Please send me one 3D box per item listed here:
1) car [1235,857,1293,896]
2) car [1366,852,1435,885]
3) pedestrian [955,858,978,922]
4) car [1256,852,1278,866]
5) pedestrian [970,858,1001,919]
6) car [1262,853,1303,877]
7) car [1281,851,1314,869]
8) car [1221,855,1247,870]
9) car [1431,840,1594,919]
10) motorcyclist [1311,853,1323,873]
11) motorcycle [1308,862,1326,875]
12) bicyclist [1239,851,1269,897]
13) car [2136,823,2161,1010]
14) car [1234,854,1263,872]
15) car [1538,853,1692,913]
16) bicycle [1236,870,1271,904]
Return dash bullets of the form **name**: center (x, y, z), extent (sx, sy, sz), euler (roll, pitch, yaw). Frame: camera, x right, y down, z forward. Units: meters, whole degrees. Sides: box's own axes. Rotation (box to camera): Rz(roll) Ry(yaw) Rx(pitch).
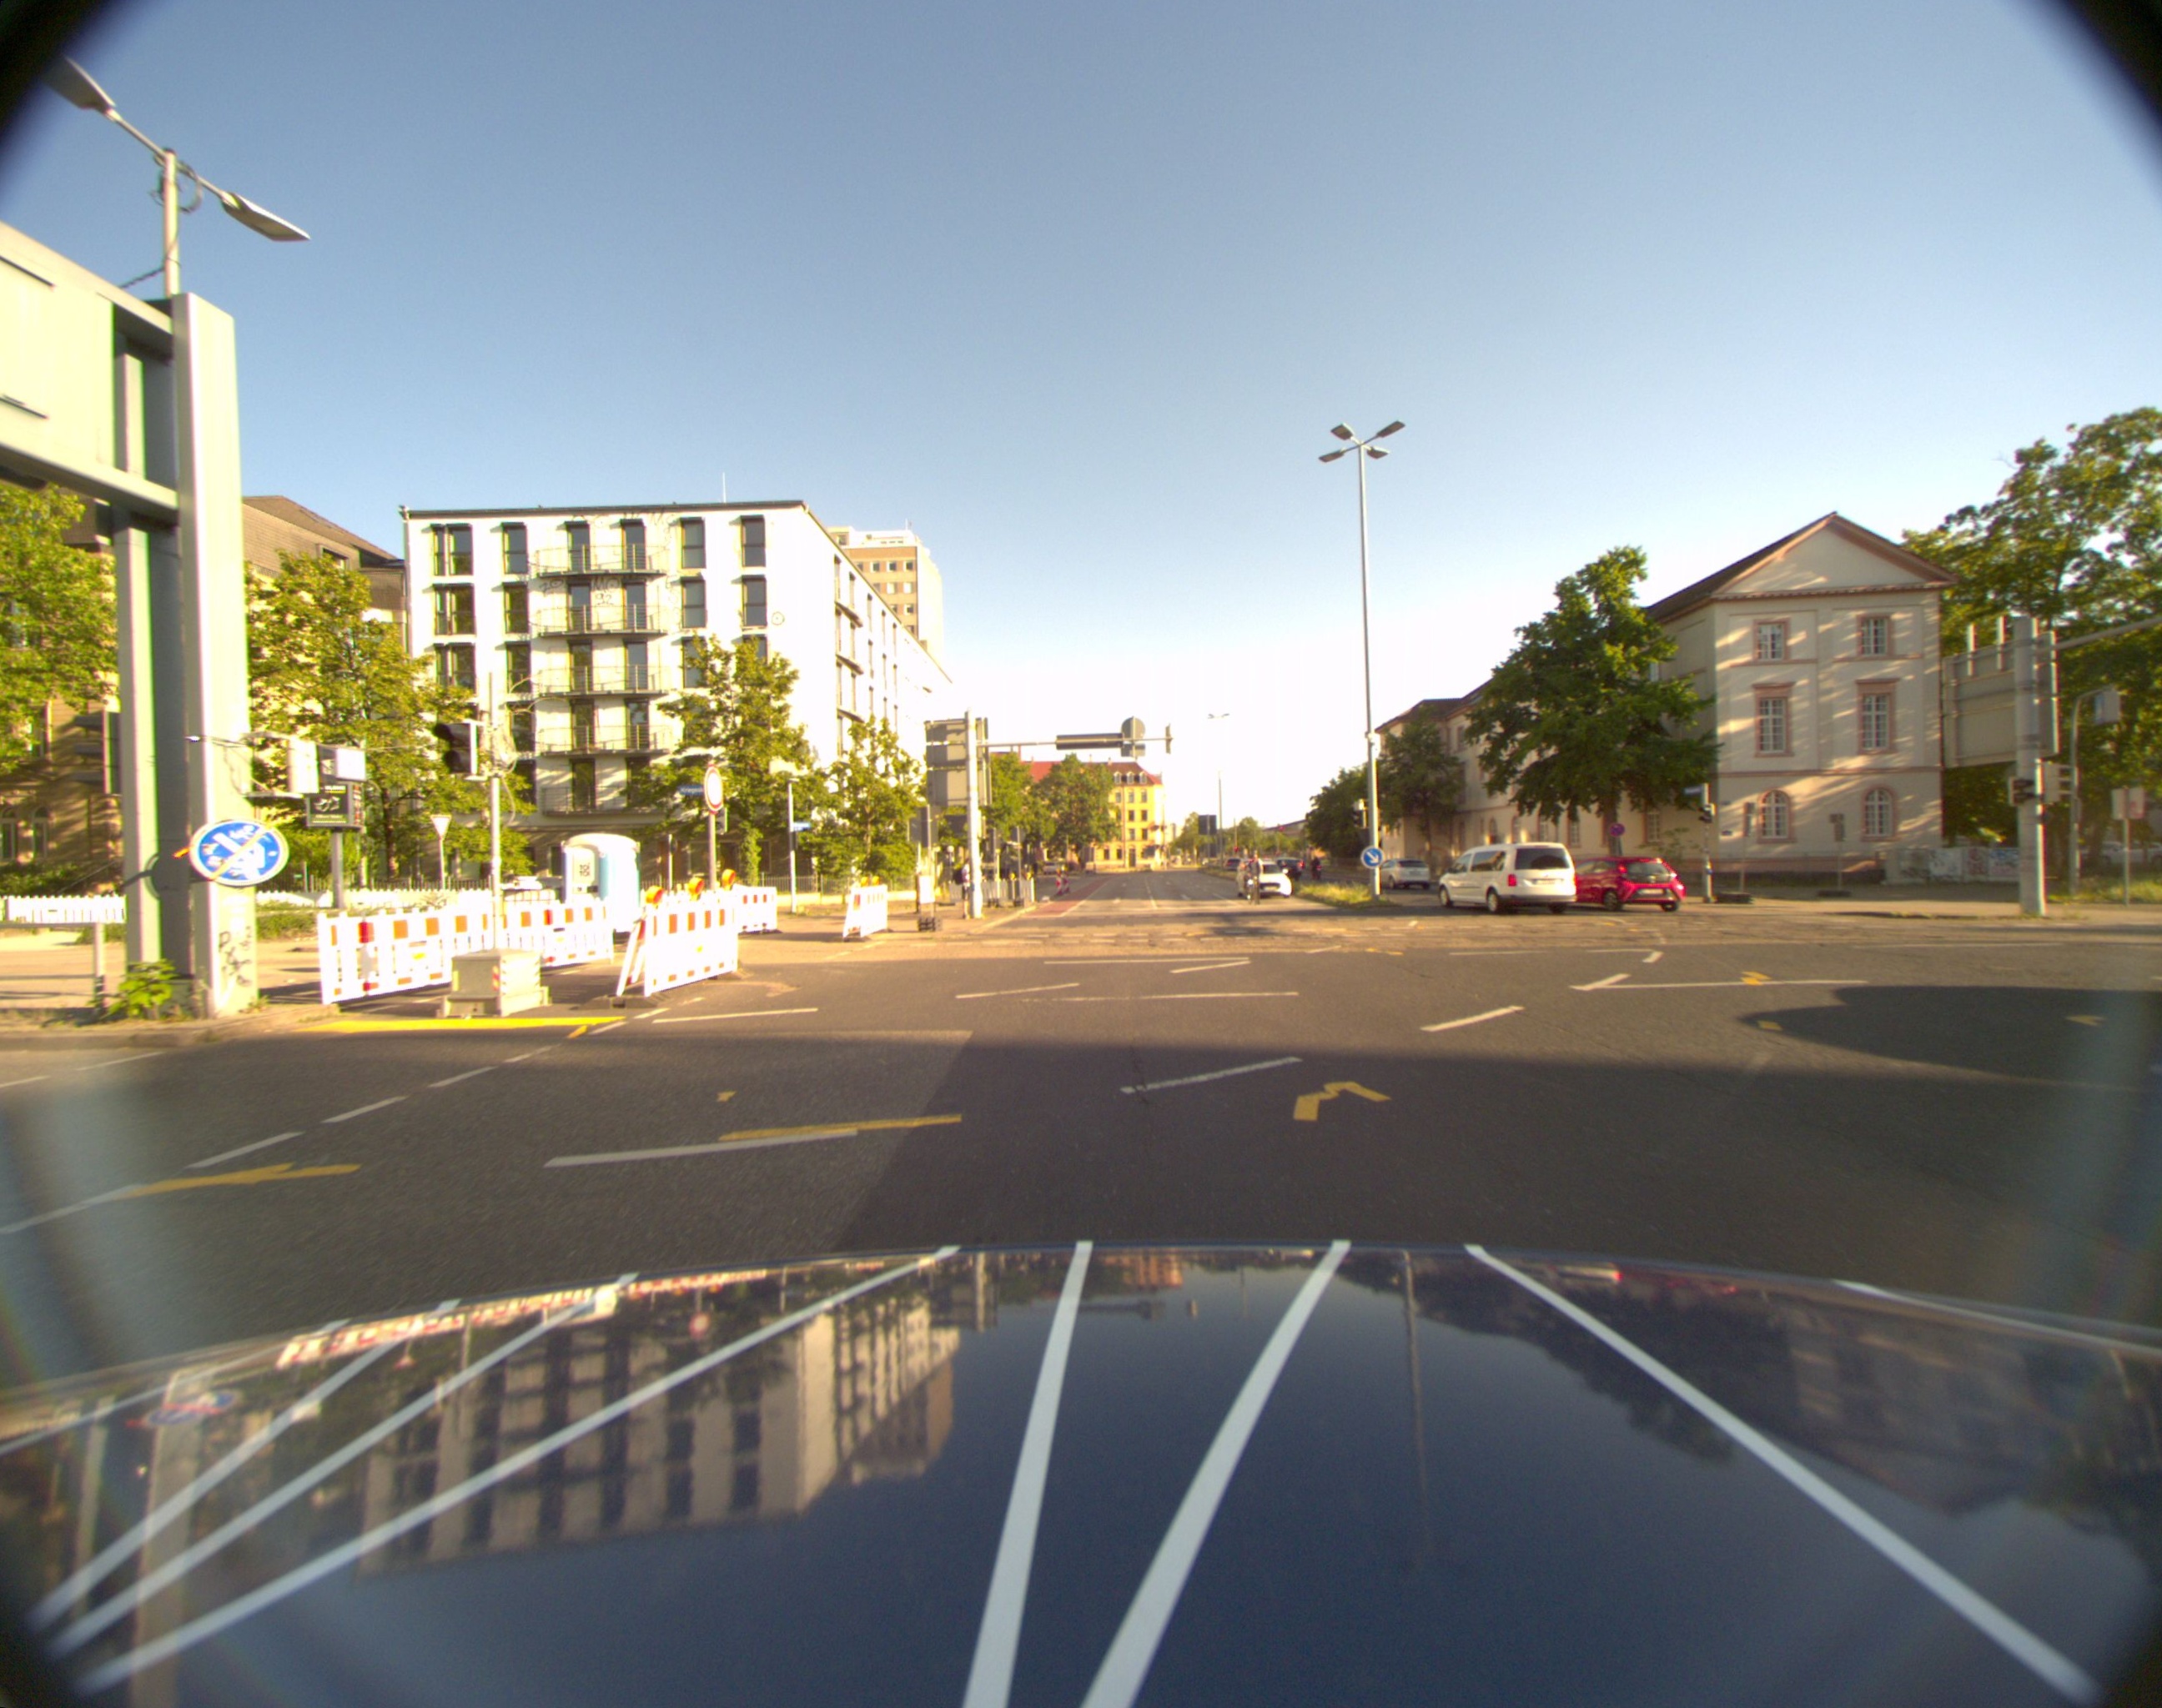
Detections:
- **car**: center (7.412, 0.874, 31.141), extent (1.764, 1.489, 3.709), euler (-1, 0, 5)
- **car**: center (15.599, 0.683, 37.339), extent (1.764, 1.454, 4.294), euler (-1, 0, 3)
- **pedestrian**: center (-3.428, 1.075, 22.781), extent (0.500, 1.866, 0.601), euler (-2, 0, -24)
- **car**: center (22.464, 0.610, 91.857), extent (1.764, 1.626, 4.294), euler (-1, 0, 3)
- **pedestrian**: center (-2.997, 1.069, 23.855), extent (0.576, 1.866, 0.711), euler (-1, 0, 39)
- **car**: center (13.268, 0.695, 50.322), extent (1.764, 1.454, 4.294), euler (-1, 0, 3)
- **car**: center (18.719, 0.513, 65.835), extent (1.764, 1.454, 4.294), euler (-1, 0, 3)
- **car**: center (16.254, 0.885, 80.762), extent (2.047, 1.454, 4.294), euler (-1, 0, 3)
- **car**: center (11.500, 0.621, 20.714), extent (1.832, 1.836, 4.948), euler (-1, 0, 3)
- **motorcyclist**: center (16.629, 0.614, 53.614), extent (0.620, 1.398, 0.756), euler (-1, 0, 1)
- **motorcycle**: center (16.647, 1.015, 53.574), extent (0.640, 0.874, 2.162), euler (-1, 0, 1)
- **bicyclist**: center (6.053, 0.694, 26.668), extent (0.838, 1.594, 1.023), euler (-1, 0, 3)
- **car**: center (10.601, 0.540, 4.784), extent (1.832, 1.696, 4.442), euler (-1, 0, 3)
- **car**: center (14.635, 0.750, 66.458), extent (1.764, 1.454, 4.294), euler (-1, 0, 3)
- **car**: center (14.582, 0.730, 21.014), extent (1.711, 1.469, 3.813), euler (-1, 0, 3)
- **bicycle**: center (6.045, 1.132, 26.722), extent (0.833, 1.101, 2.081), euler (-1, 0, 3)
